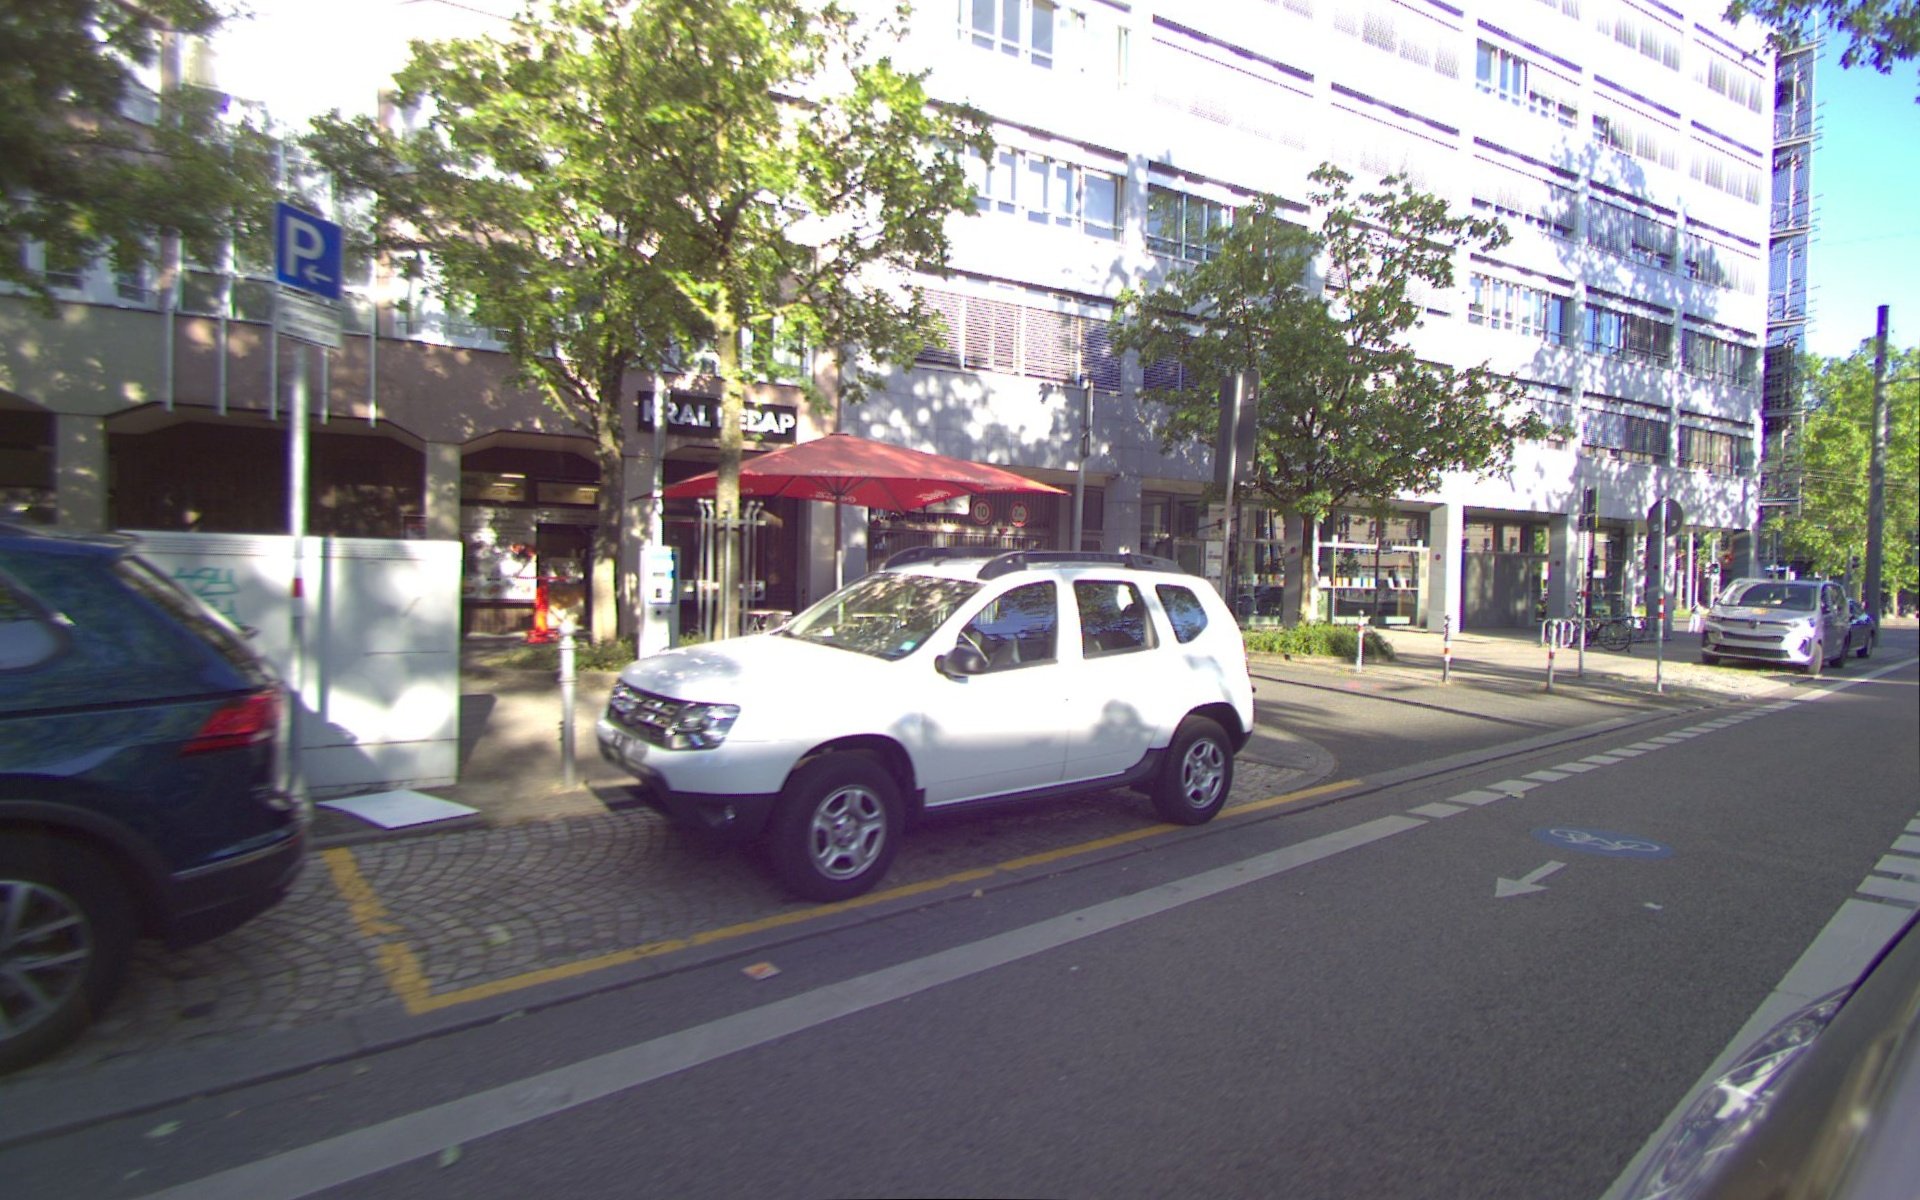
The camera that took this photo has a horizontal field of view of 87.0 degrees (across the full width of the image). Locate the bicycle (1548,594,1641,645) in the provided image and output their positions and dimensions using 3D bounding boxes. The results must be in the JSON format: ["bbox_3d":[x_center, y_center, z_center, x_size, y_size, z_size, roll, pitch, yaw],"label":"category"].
[{"bbox_3d":[15.265,0.445,24.377,0.655,1.120,1.776,0,2,-41],"label":"bicycle"}]

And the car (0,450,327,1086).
[{"bbox_3d":[-4.332,0.406,2.509,4.492,1.745,1.803,0,3,-39],"label":"car"}]

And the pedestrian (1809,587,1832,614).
[{"bbox_3d":[54.299,0.026,63.864,0.599,1.639,0.983,1,1,-40],"label":"pedestrian"}]

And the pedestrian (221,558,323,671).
[{"bbox_3d":[-8.134,0.149,11.964,0.950,1.266,0.932,1,1,-37],"label":"pedestrian"}]

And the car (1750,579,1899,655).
[{"bbox_3d":[21.746,0.395,25.424,3.941,1.661,1.924,1,3,-36],"label":"car"}]

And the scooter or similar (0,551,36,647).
[{"bbox_3d":[-13.291,-0.026,13.494,1.336,1.271,0.668,0,1,-33],"label":"scooter or similar"}]

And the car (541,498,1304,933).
[{"bbox_3d":[0.019,0.413,6.134,4.379,1.745,1.803,0,3,-39],"label":"car"}]

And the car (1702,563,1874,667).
[{"bbox_3d":[17.740,0.268,21.601,4.775,1.928,1.922,0,3,-40],"label":"car"}]

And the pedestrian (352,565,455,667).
[{"bbox_3d":[-7.070,0.186,12.873,1.101,1.228,0.889,0,1,-30],"label":"pedestrian"}]
